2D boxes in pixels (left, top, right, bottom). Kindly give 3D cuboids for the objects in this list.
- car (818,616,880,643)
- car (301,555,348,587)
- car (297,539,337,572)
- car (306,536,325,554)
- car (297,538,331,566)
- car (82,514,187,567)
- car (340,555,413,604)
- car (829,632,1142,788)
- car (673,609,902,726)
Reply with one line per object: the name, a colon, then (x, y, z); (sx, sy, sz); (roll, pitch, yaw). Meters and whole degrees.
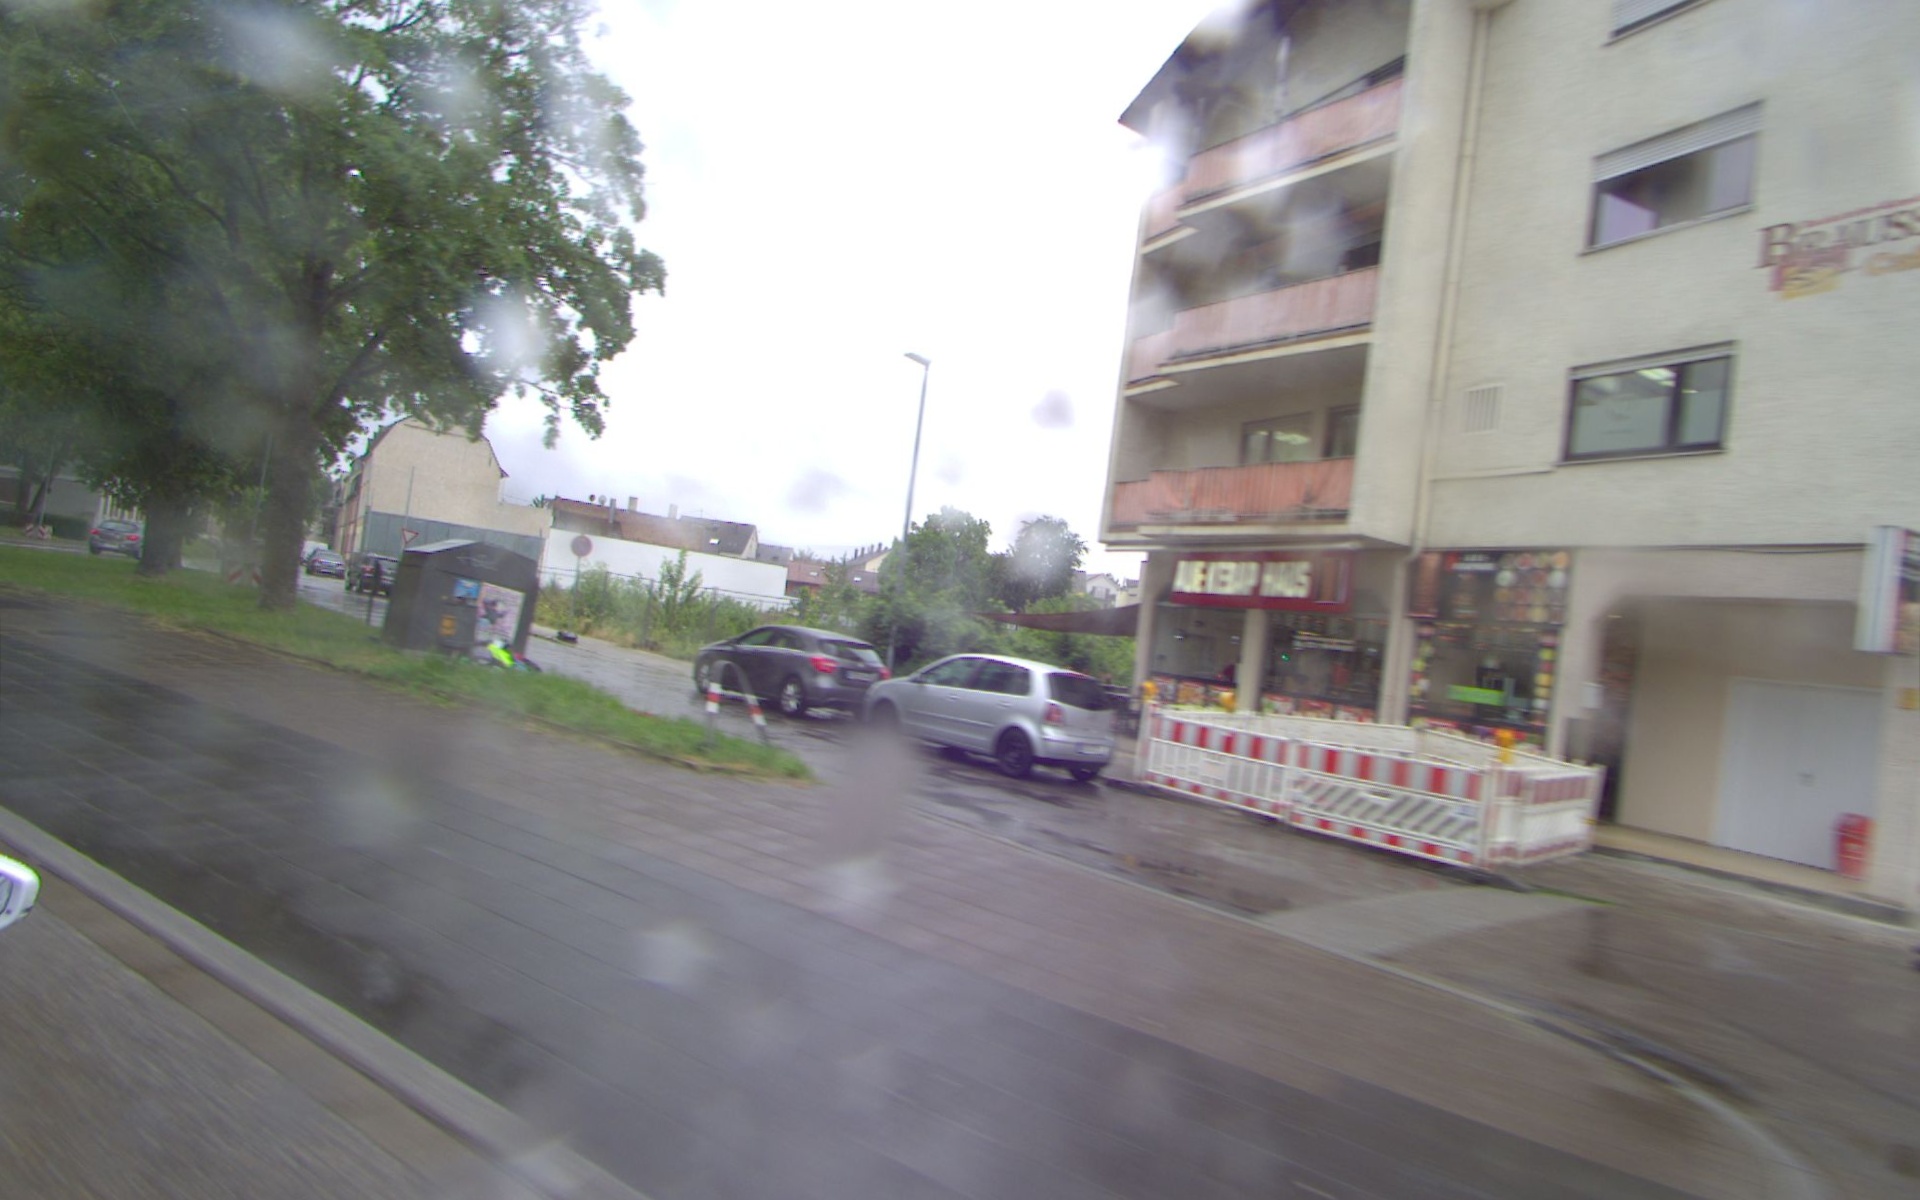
car: (-7.235, 1.904, 65.409); (3.946, 1.280, 1.762); (6, -3, 42)
car: (-37.854, -1.708, 59.995); (1.960, 1.566, 4.497); (9, -3, -30)
car: (-41.643, -2.872, 65.117); (1.866, 1.830, 4.051); (9, -3, -35)
car: (-89.208, -7.578, 139.250); (1.982, 2.036, 3.966); (9, -3, -33)
car: (-60.015, -4.447, 93.478); (2.335, 2.233, 4.574); (9, -3, -33)
car: (-33.360, -2.359, 40.790); (1.974, 1.620, 4.070); (8, -3, -22)
car: (-24.451, -0.886, 42.104); (1.847, 1.673, 4.259); (9, -3, -39)
car: (0.220, 1.423, 13.703); (4.123, 1.450, 1.632); (5, -3, 44)
car: (-3.082, 1.117, 17.433); (4.103, 1.449, 1.695); (5, -3, 44)
